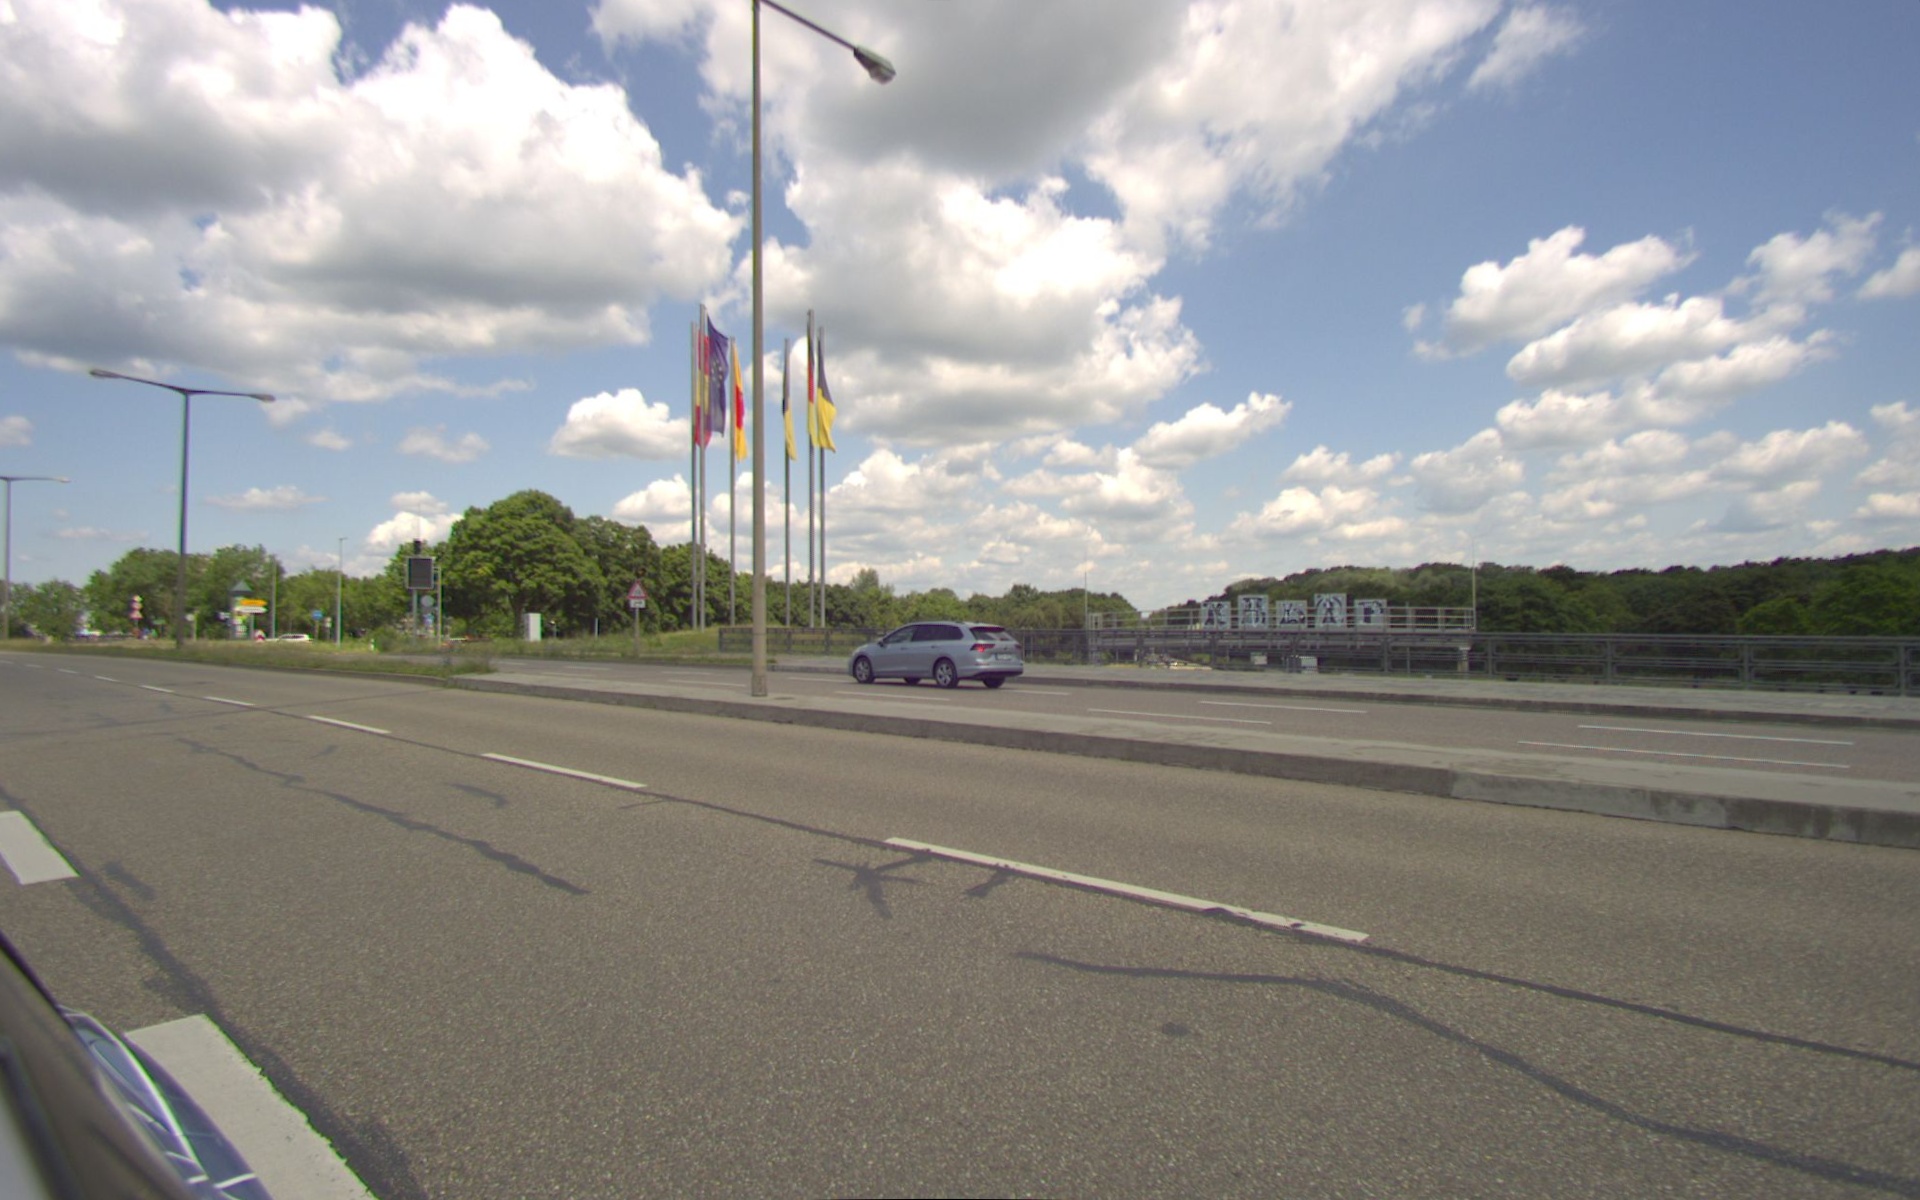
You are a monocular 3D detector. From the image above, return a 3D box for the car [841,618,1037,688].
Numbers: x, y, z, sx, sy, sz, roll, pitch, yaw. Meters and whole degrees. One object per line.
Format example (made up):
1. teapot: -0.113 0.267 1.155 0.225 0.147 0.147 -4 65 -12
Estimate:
1. car: -0.569 1.188 22.765 4.550 1.424 1.645 -2 -5 43
